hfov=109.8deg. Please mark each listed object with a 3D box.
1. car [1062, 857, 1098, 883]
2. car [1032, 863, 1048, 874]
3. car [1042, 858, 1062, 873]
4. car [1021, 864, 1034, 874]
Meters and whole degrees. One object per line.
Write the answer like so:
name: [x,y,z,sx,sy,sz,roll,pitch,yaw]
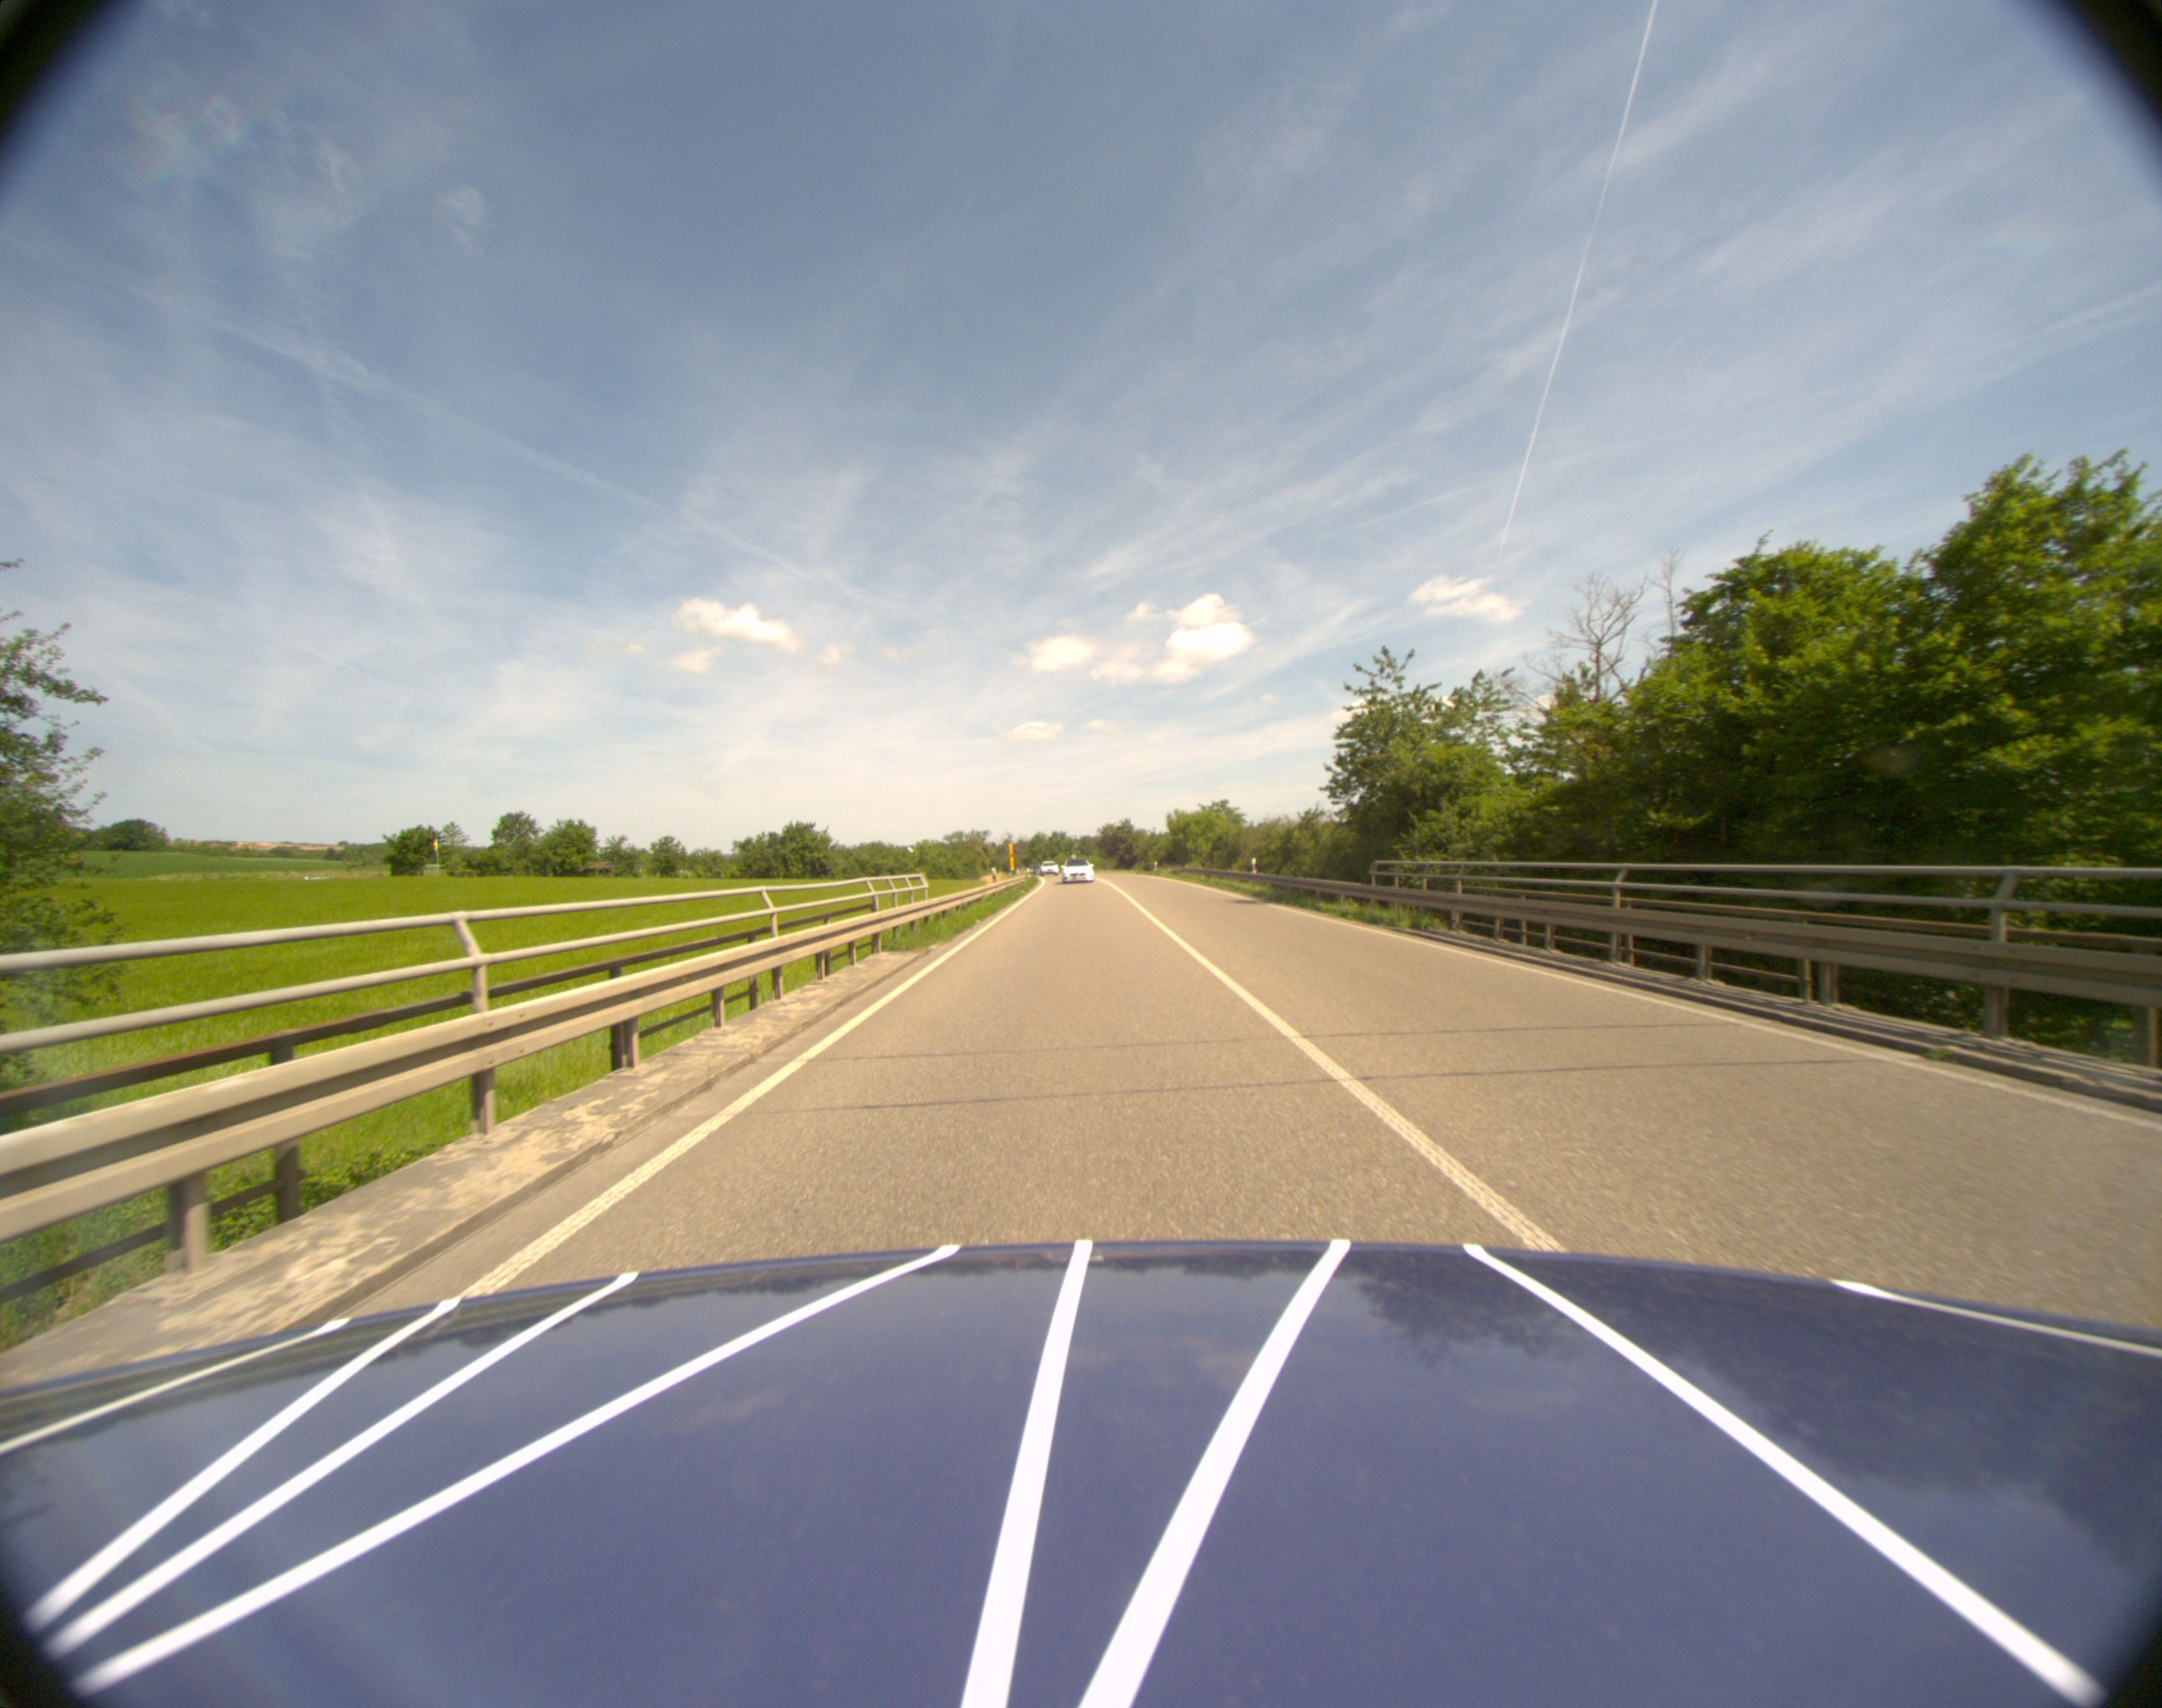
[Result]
car: [-0.133,0.939,46.668,1.930,1.441,4.533,-2,0,-3]
car: [-5.612,1.947,102.861,1.930,1.441,4.074,-1,0,-6]
car: [-3.069,1.184,80.460,1.930,1.441,3.999,-4,0,-4]
car: [-8.578,2.443,122.356,1.930,1.441,3.998,-1,0,-6]
